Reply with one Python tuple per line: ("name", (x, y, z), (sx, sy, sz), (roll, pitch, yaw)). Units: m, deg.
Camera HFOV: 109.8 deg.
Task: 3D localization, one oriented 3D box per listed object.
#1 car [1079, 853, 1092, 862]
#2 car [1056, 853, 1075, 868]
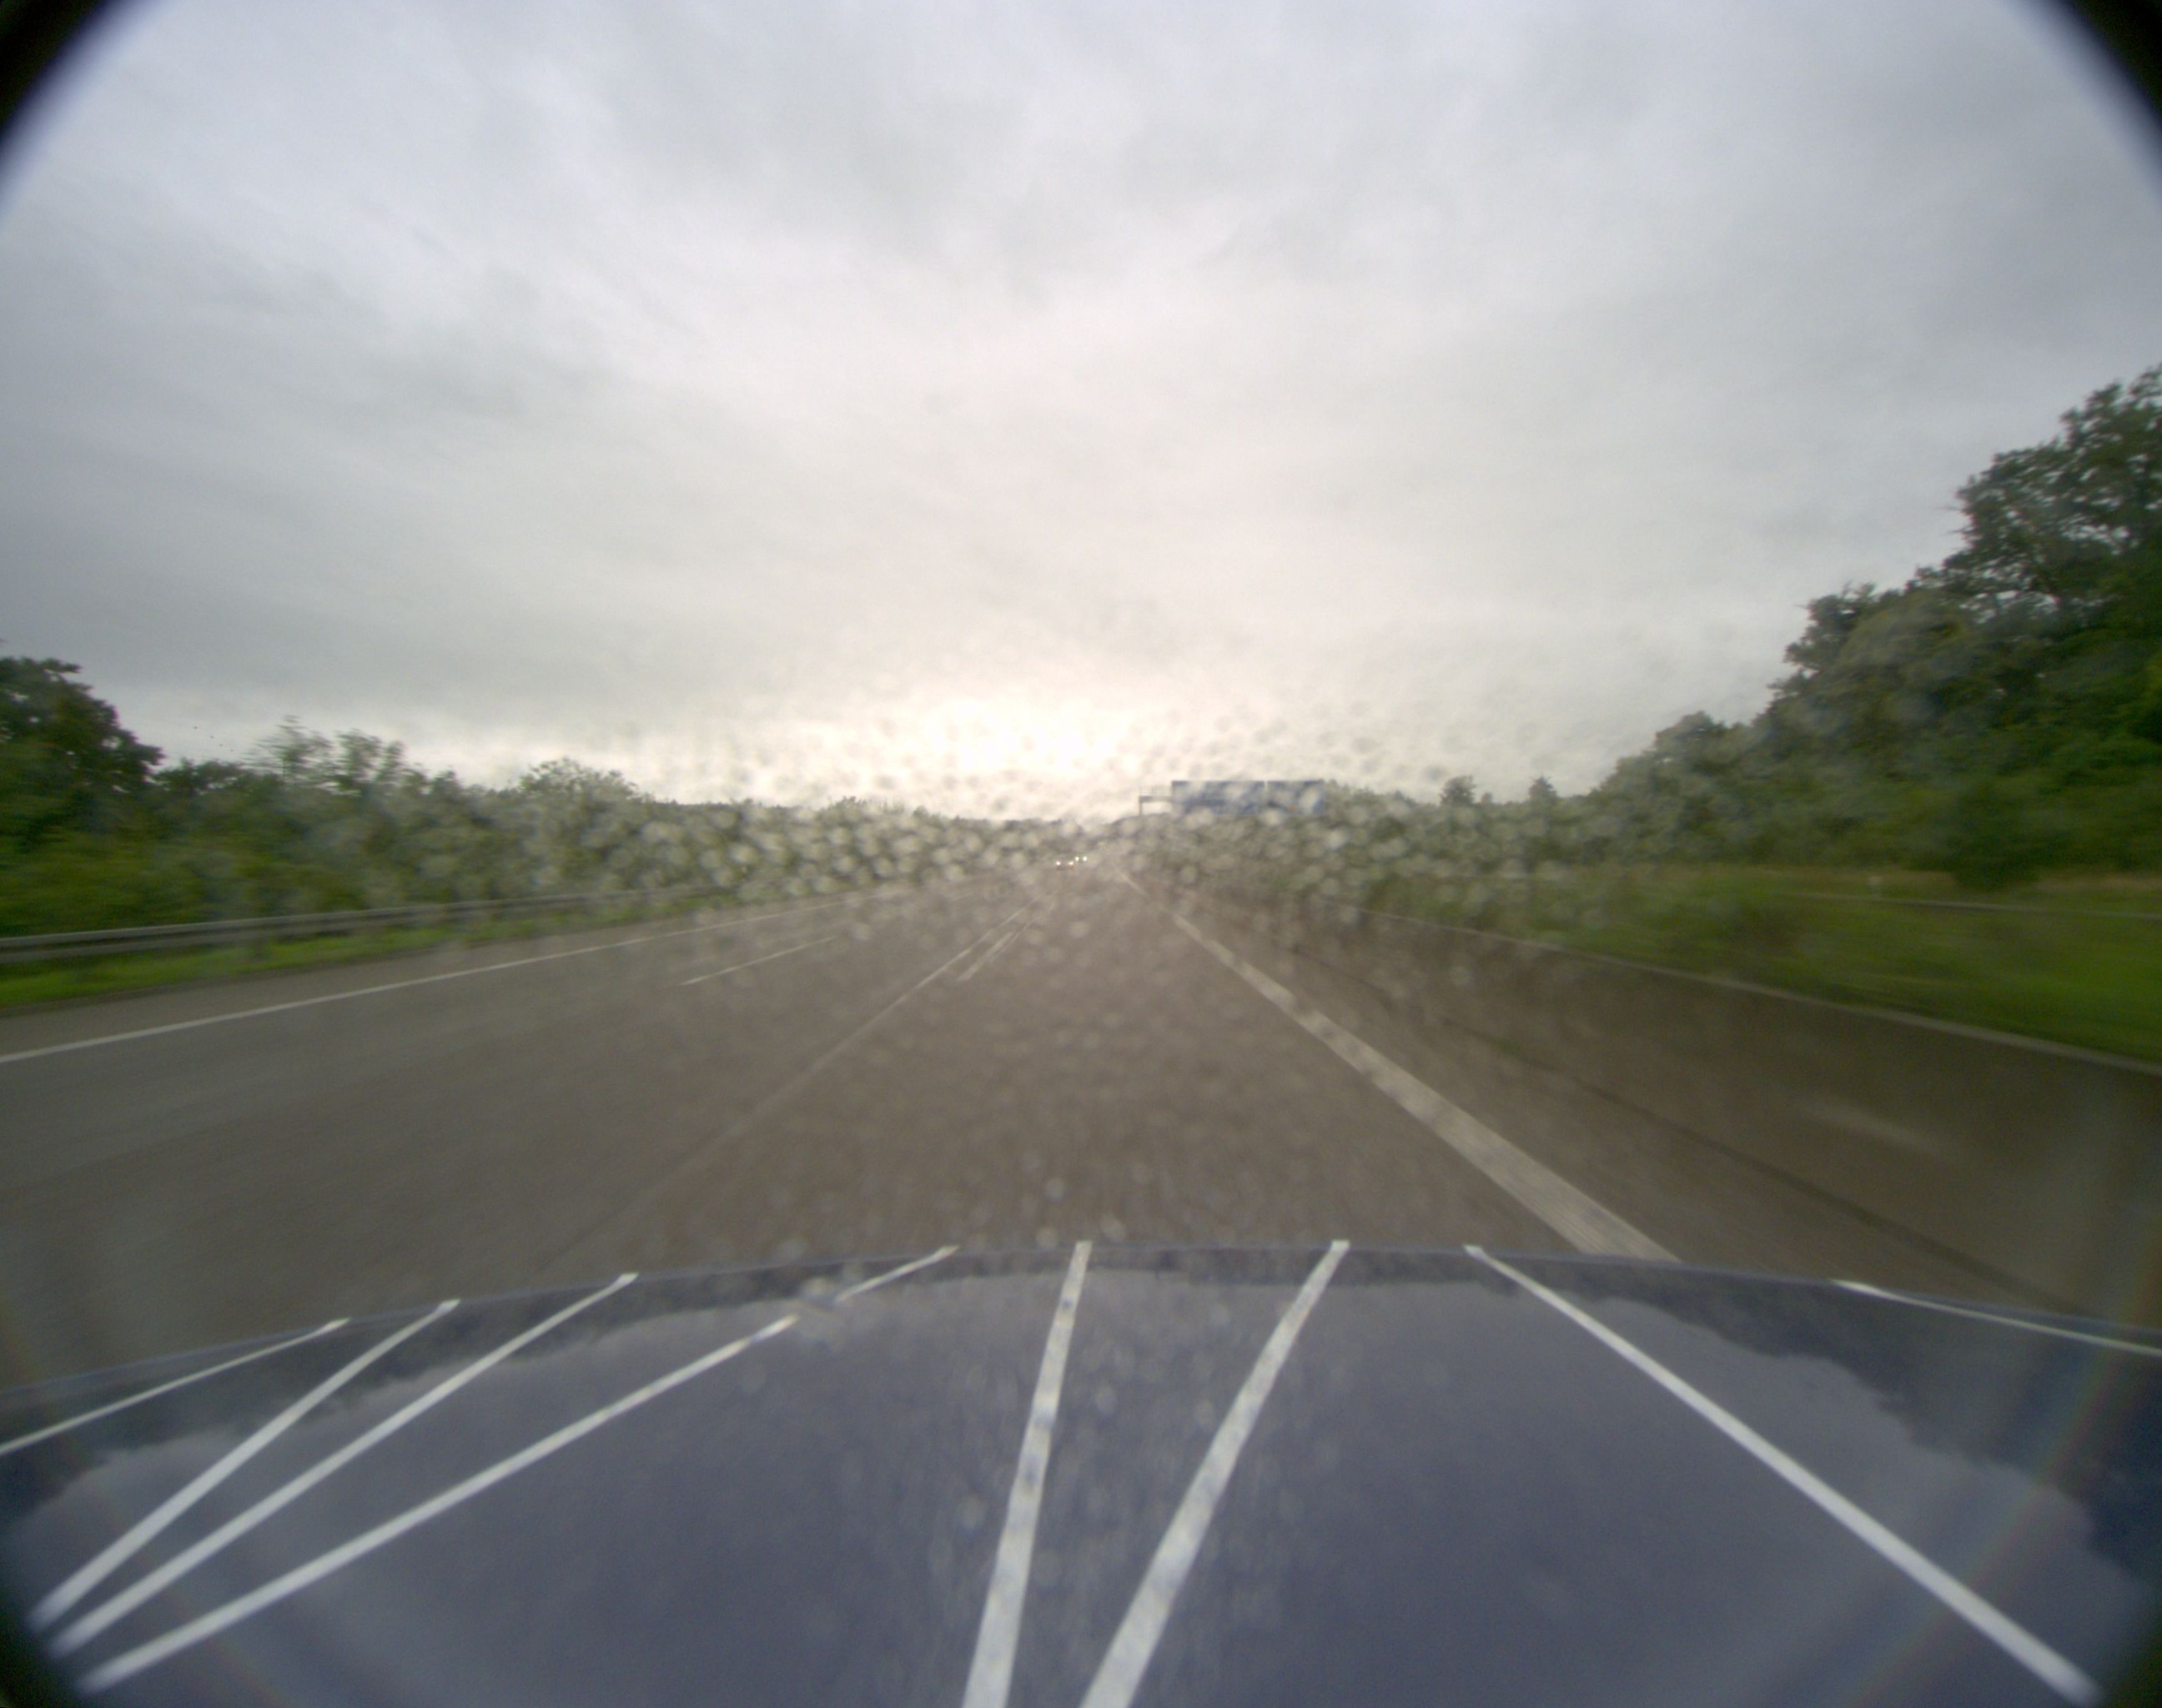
("car", (0.874, 0.583, 138.672), (2.008, 1.456, 4.001), (1, 1, 5))
("car", (-1.667, 0.711, 83.381), (1.932, 1.521, 4.297), (0, 0, 0))
